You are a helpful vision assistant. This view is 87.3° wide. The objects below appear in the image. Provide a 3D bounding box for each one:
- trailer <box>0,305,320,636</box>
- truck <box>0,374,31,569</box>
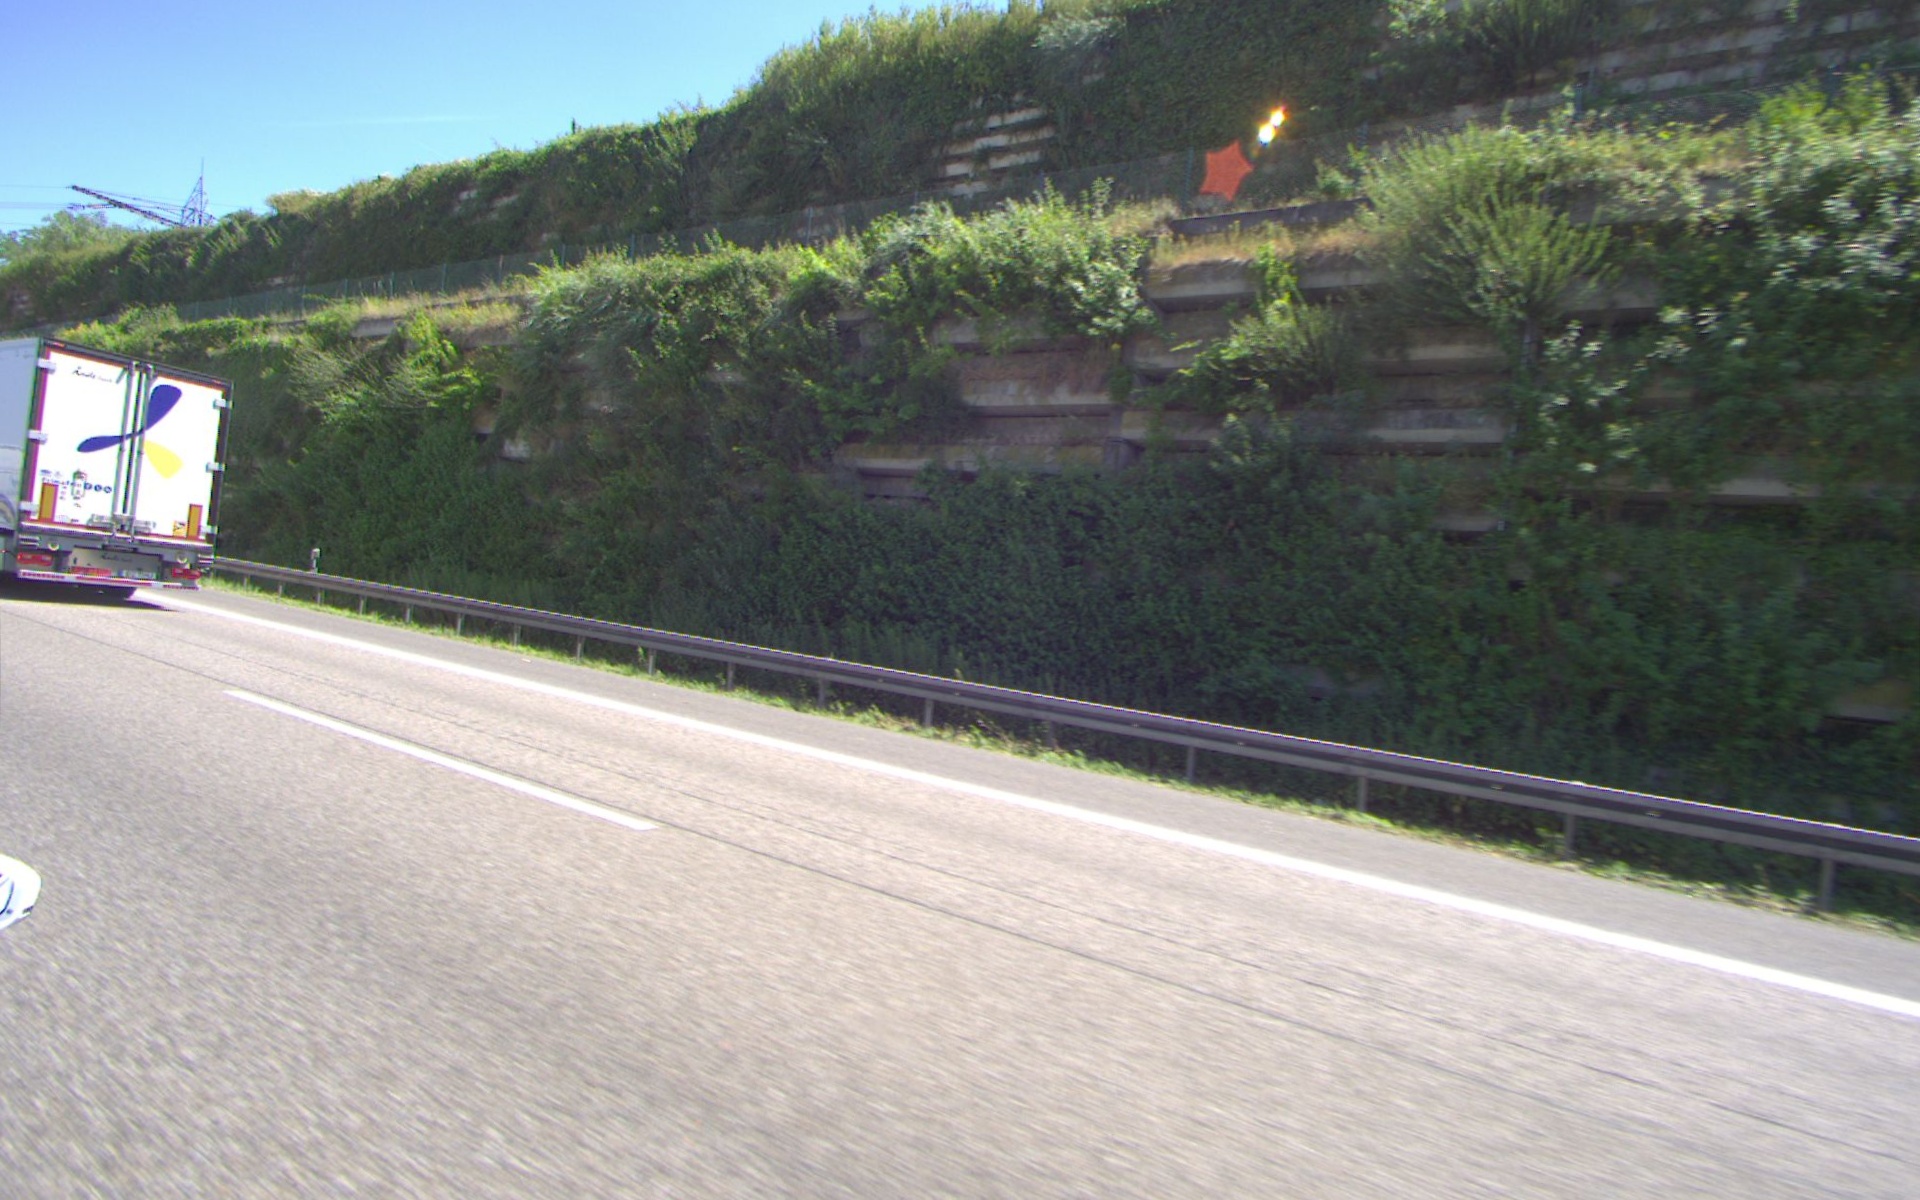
[{"bbox_3d":[-17.720,-2.482,18.901,16.749,4.262,2.518,7,-1,33],"label":"trailer"},{"bbox_3d":[-24.364,-3.228,23.197,6.154,4.268,2.512,6,-2,33],"label":"truck"}]
